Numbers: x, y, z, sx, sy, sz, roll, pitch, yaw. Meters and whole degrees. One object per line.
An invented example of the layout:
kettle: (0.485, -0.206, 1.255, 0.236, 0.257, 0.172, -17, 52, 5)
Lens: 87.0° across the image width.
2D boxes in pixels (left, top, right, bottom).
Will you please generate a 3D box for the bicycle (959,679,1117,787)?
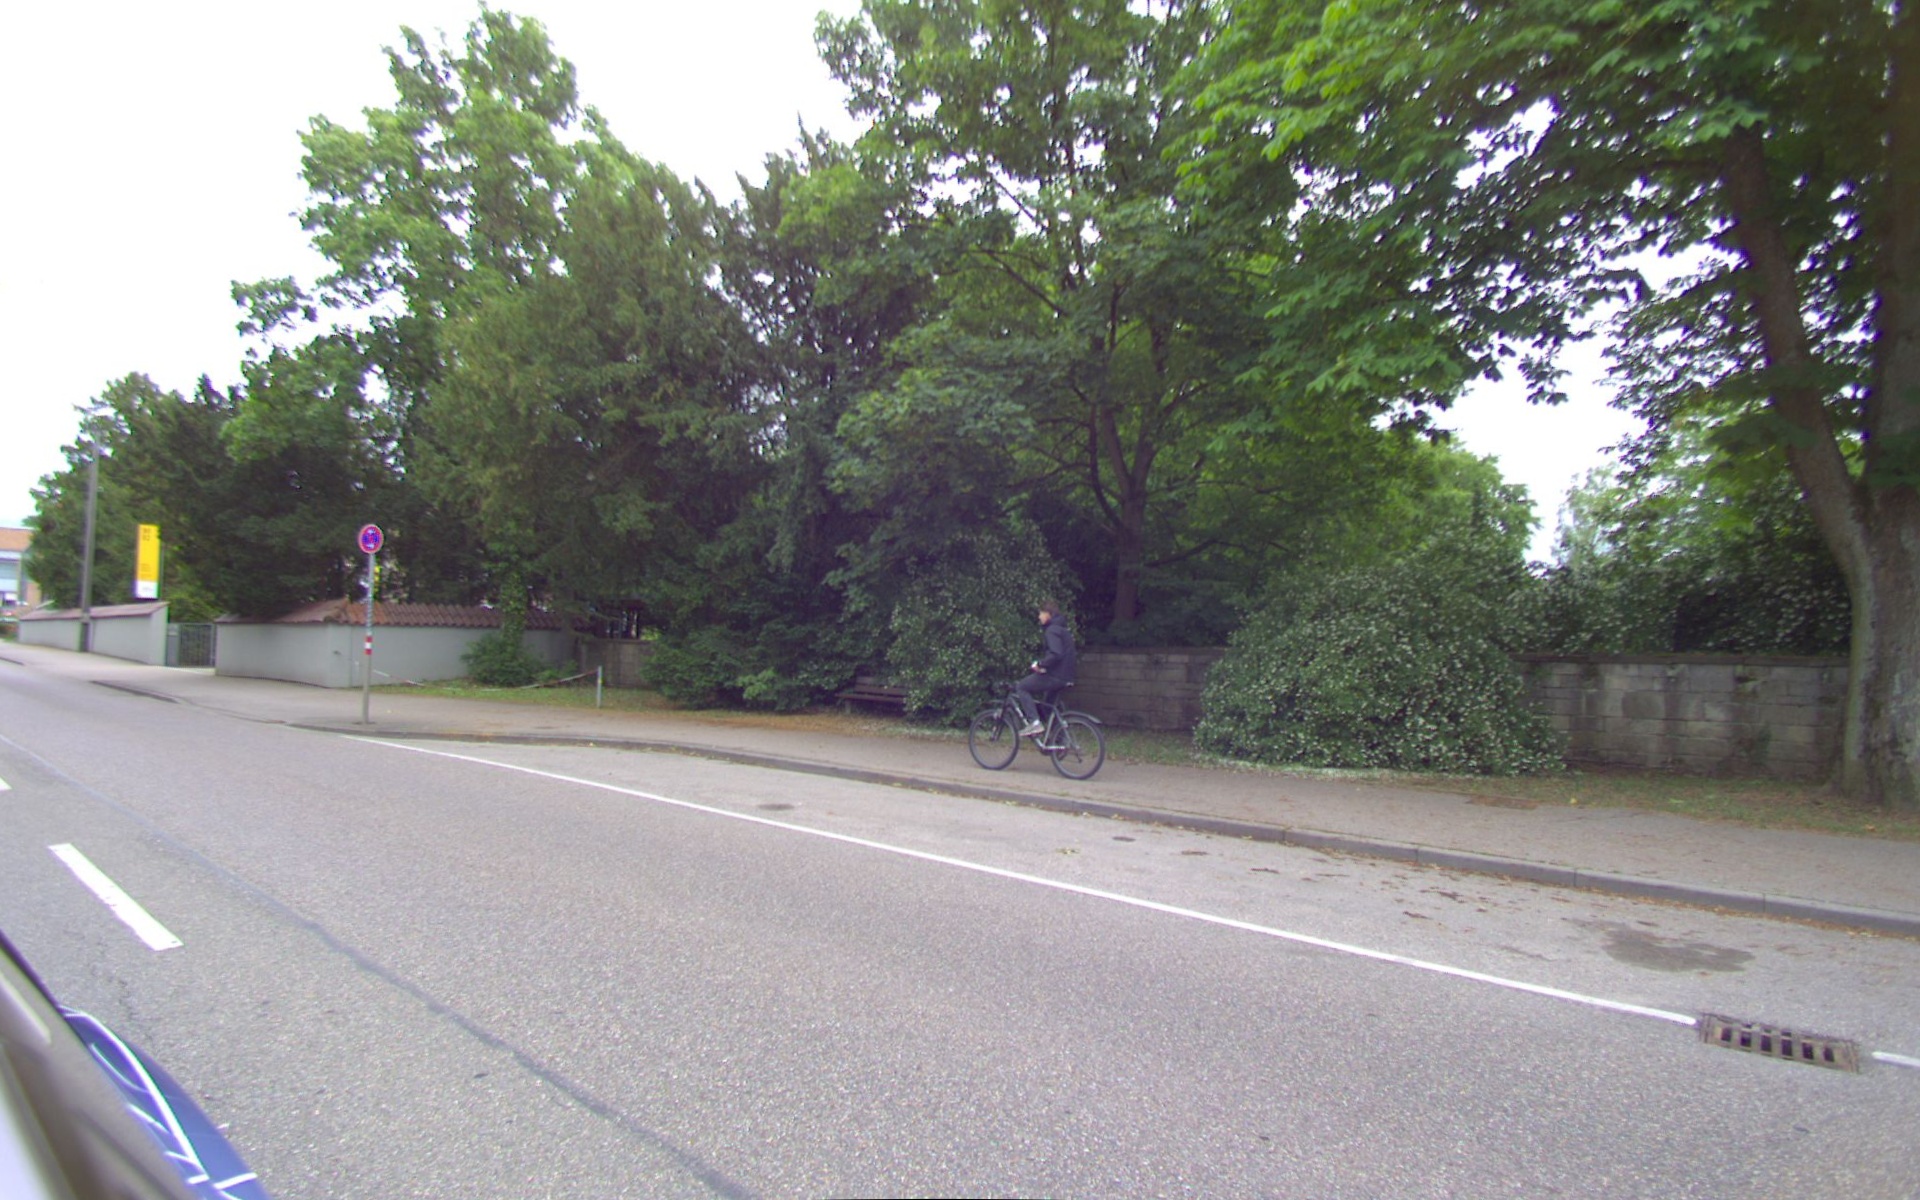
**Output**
bicycle: (0.805, 1.385, 10.864, 1.747, 0.972, 0.490, -1, 0, 41)

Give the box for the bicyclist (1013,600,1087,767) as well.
bicyclist: (0.952, 0.856, 10.723, 0.588, 1.697, 0.482, -1, 0, 41)
